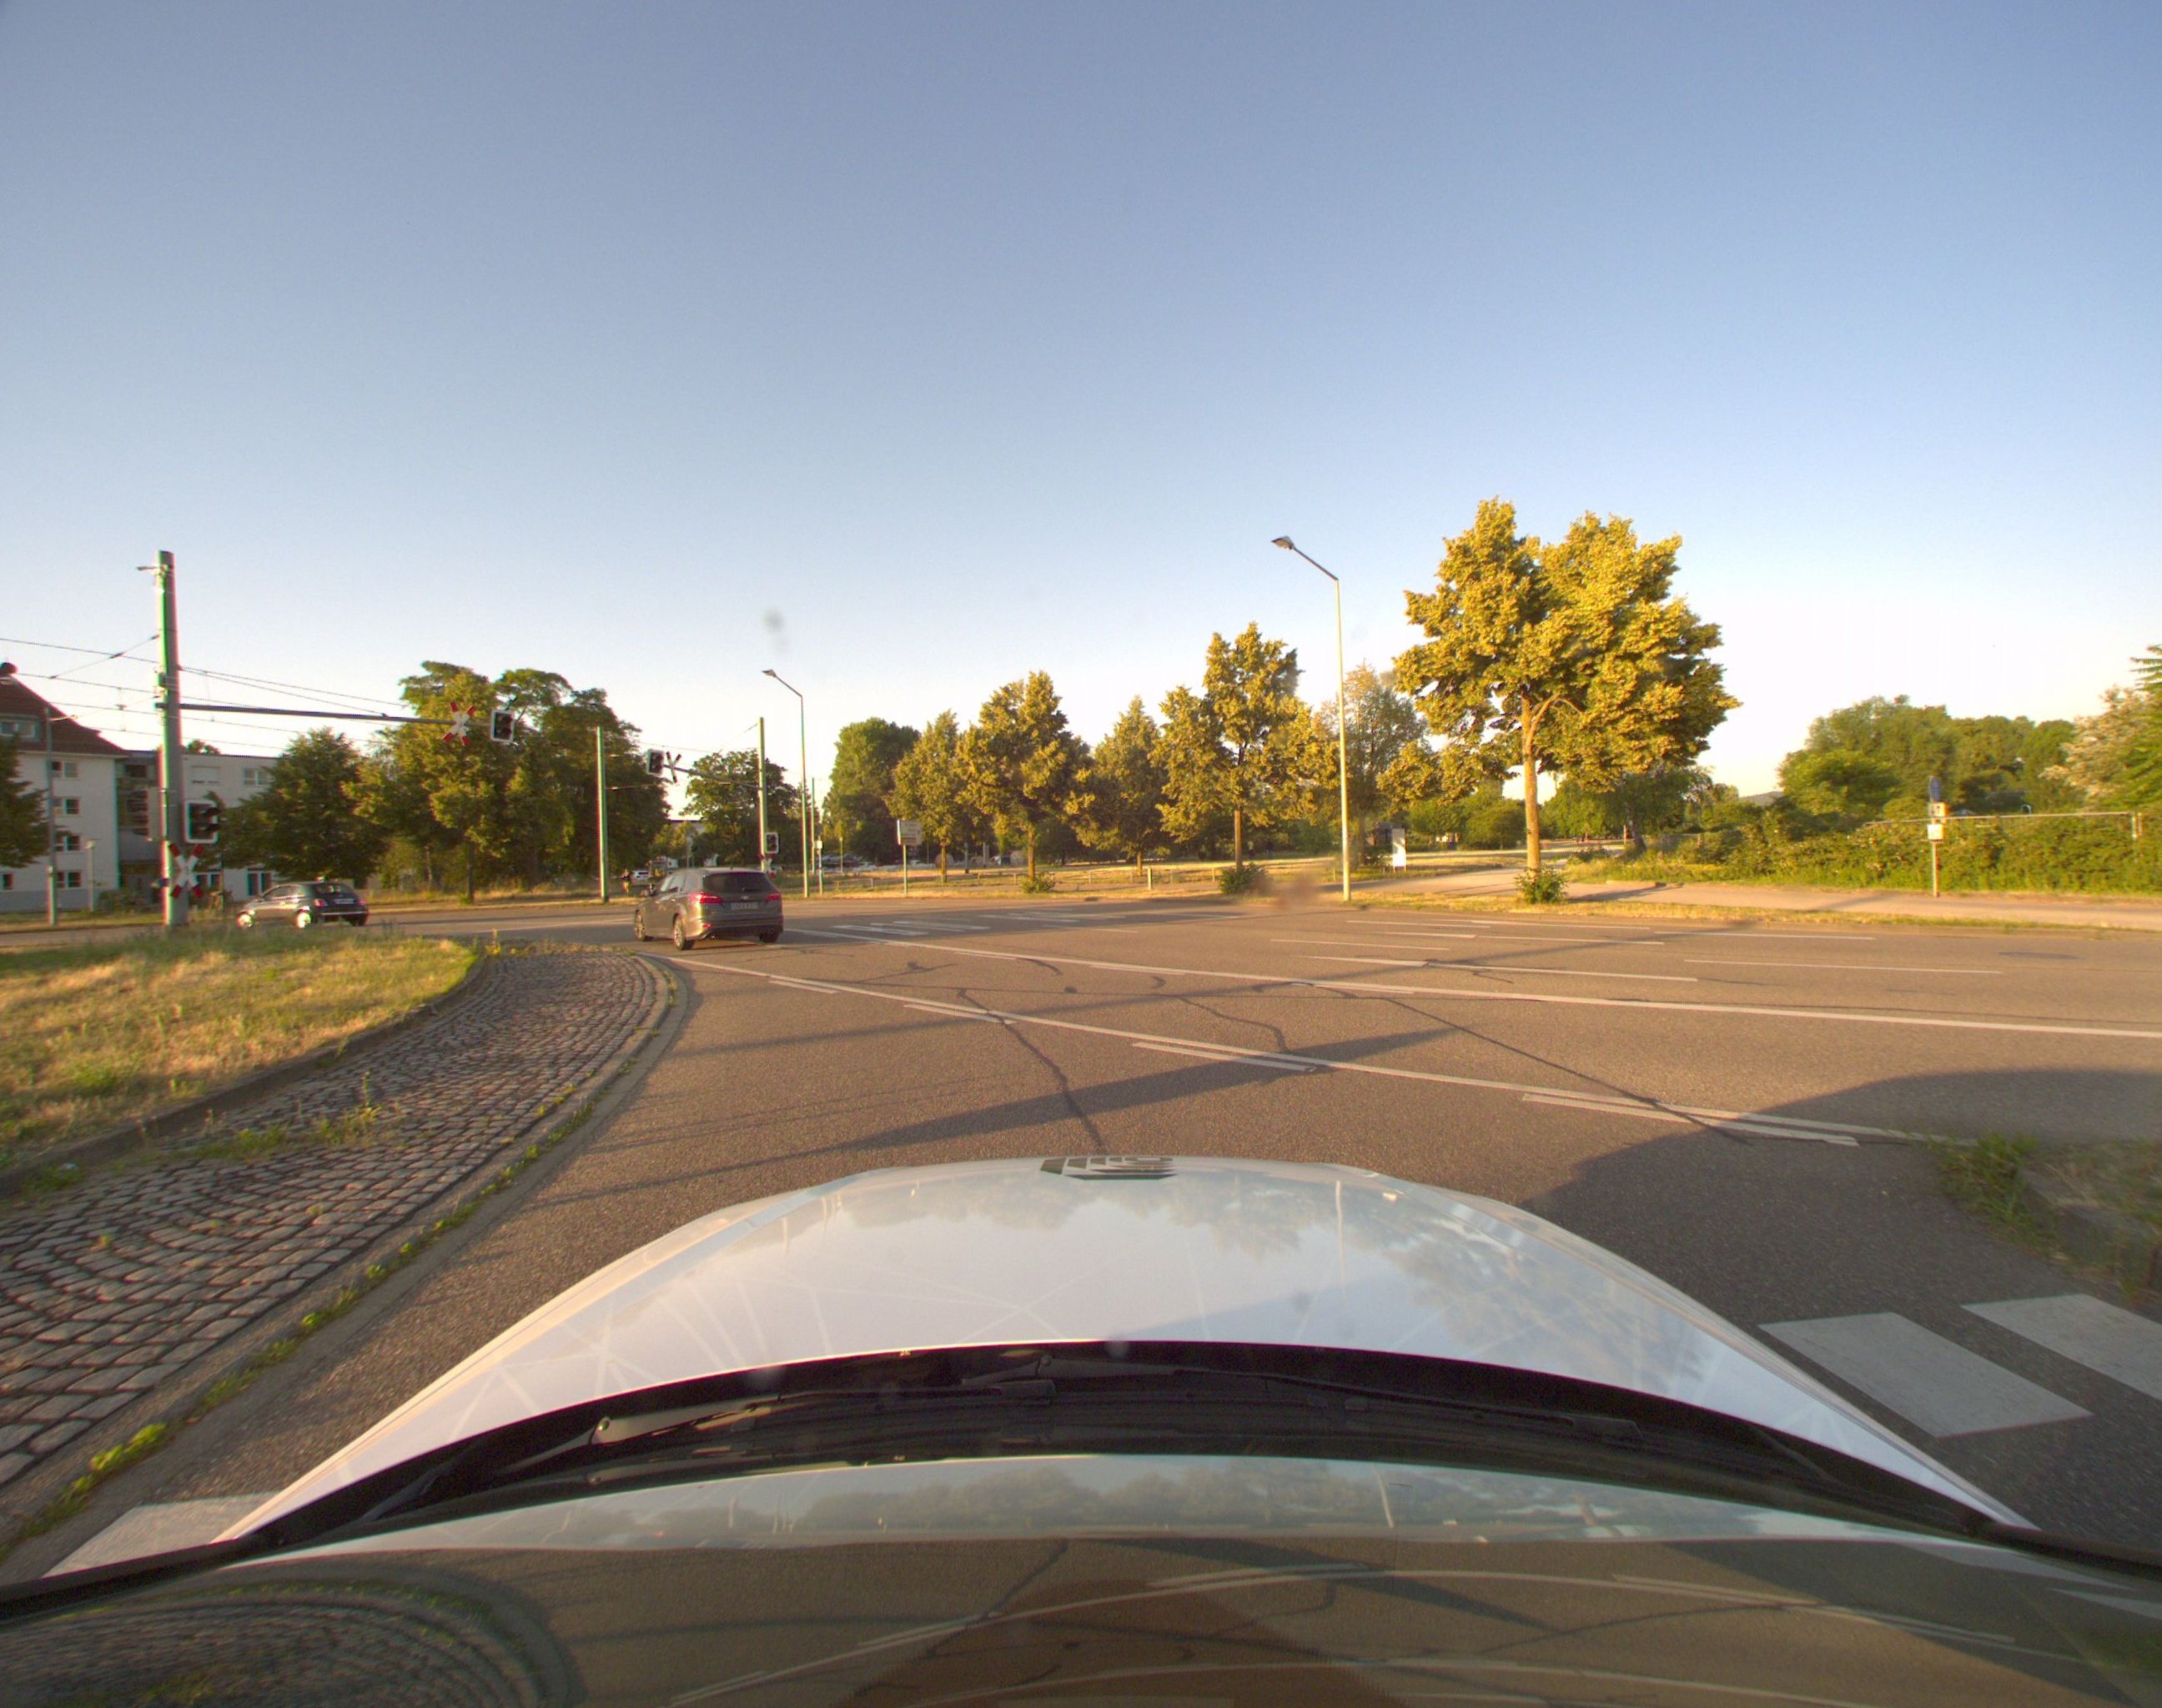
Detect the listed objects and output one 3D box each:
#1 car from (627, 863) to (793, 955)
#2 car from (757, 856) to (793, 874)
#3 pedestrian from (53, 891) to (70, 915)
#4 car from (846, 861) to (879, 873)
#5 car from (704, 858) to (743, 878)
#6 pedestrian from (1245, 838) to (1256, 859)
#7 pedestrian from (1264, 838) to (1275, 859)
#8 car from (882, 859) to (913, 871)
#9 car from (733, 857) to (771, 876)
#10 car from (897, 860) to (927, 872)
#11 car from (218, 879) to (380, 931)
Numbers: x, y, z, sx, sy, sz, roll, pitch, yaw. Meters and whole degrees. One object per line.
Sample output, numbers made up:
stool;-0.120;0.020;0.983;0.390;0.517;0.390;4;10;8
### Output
car;-7.352;0.980;15.933;1.761;1.466;4.085;-3;1;-42
car;-36.846;1.332;97.970;3.948;2.098;2.013;-2;0;32
pedestrian;-61.872;2.965;49.439;0.353;1.374;0.551;-2;0;28
car;-29.160;1.714;108.732;3.948;1.551;2.013;-2;0;30
car;-40.362;1.593;91.956;3.948;2.098;2.013;-2;0;32
pedestrian;13.258;-0.396;63.665;0.580;1.626;0.530;-2;0;-18
pedestrian;14.666;-0.425;63.400;0.622;1.626;0.525;-2;0;-30
car;-25.889;1.512;114.992;3.948;1.551;2.013;-2;0;30
car;-38.313;1.459;94.841;3.948;2.098;2.013;-2;0;32
car;-24.284;1.674;116.976;3.948;1.551;2.013;-2;0;30
car;-24.878;1.615;25.947;4.091;1.446;1.758;-2;1;14
